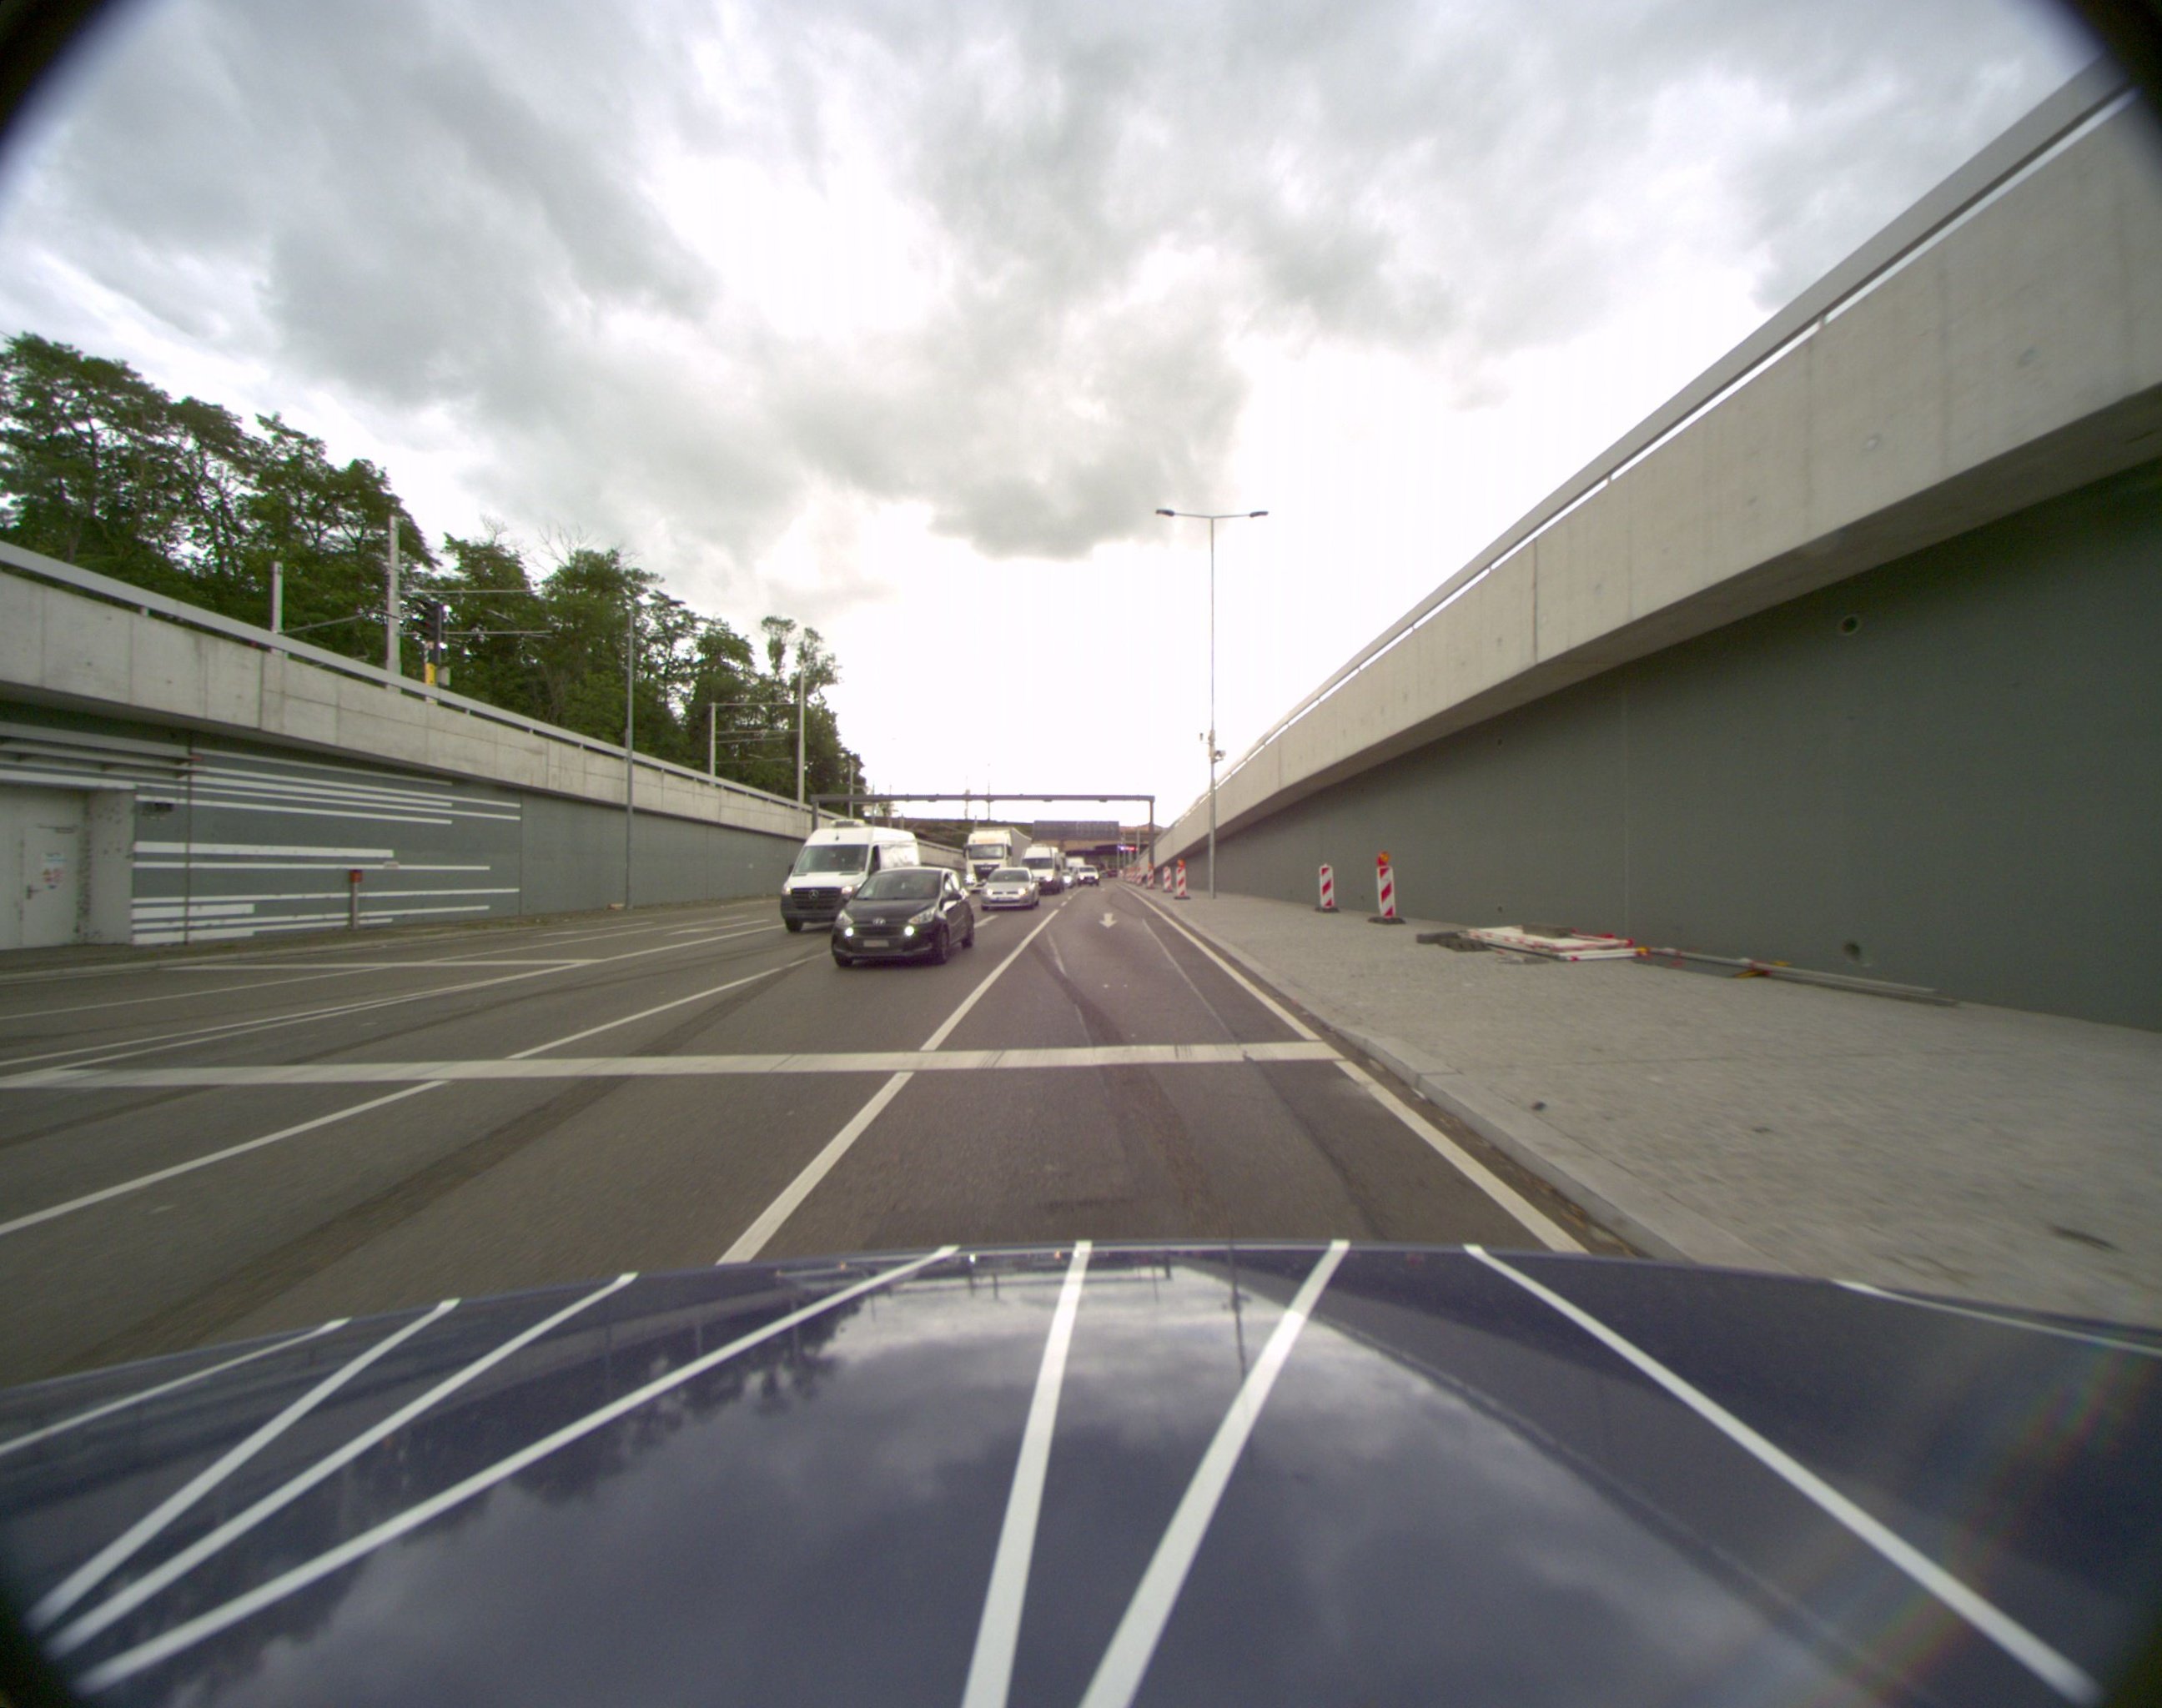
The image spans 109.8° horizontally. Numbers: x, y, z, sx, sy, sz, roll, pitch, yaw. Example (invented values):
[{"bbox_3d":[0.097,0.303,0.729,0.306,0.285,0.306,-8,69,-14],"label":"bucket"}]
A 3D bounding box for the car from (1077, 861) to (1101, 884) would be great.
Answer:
[{"bbox_3d":[0.744,1.682,69.263,1.998,1.978,5.200,-2,-1,1],"label":"car"}]

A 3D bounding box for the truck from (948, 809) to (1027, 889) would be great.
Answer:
[{"bbox_3d":[-5.790,-0.228,48.655,3.814,4.603,7.444,-2,-1,1],"label":"truck"}]

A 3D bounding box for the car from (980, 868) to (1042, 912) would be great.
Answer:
[{"bbox_3d":[-2.374,1.215,26.804,1.768,1.375,4.039,-1,0,1],"label":"car"}]

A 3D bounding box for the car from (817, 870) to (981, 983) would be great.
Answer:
[{"bbox_3d":[-2.822,1.066,12.585,1.686,1.535,3.694,-2,-1,2],"label":"car"}]

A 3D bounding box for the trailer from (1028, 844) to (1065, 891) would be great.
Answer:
[{"bbox_3d":[-2.033,0.901,46.634,2.109,2.621,4.813,0,-4,-1],"label":"trailer"}]

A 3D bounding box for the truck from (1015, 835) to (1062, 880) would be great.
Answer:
[{"bbox_3d":[-4.173,0.414,77.457,3.733,4.116,10.985,-2,-1,1],"label":"truck"}]

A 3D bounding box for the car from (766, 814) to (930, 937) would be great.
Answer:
[{"bbox_3d":[-6.017,0.567,20.887,2.080,2.756,7.328,-1,-1,1],"label":"car"}]

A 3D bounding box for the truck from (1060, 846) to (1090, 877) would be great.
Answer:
[{"bbox_3d":[-0.853,0.933,96.497,3.033,3.566,8.948,-4,0,-4],"label":"truck"}]

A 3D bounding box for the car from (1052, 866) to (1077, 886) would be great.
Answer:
[{"bbox_3d":[-1.229,1.654,58.788,1.720,1.390,4.348,0,0,2],"label":"car"}]

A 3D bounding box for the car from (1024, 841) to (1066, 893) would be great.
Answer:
[{"bbox_3d":[-1.943,0.757,42.292,2.063,2.611,5.943,-2,-2,-2],"label":"car"}]

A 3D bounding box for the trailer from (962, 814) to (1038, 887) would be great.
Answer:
[{"bbox_3d":[-5.613,-0.111,55.629,3.814,4.603,12.117,-2,-1,1],"label":"trailer"}]
